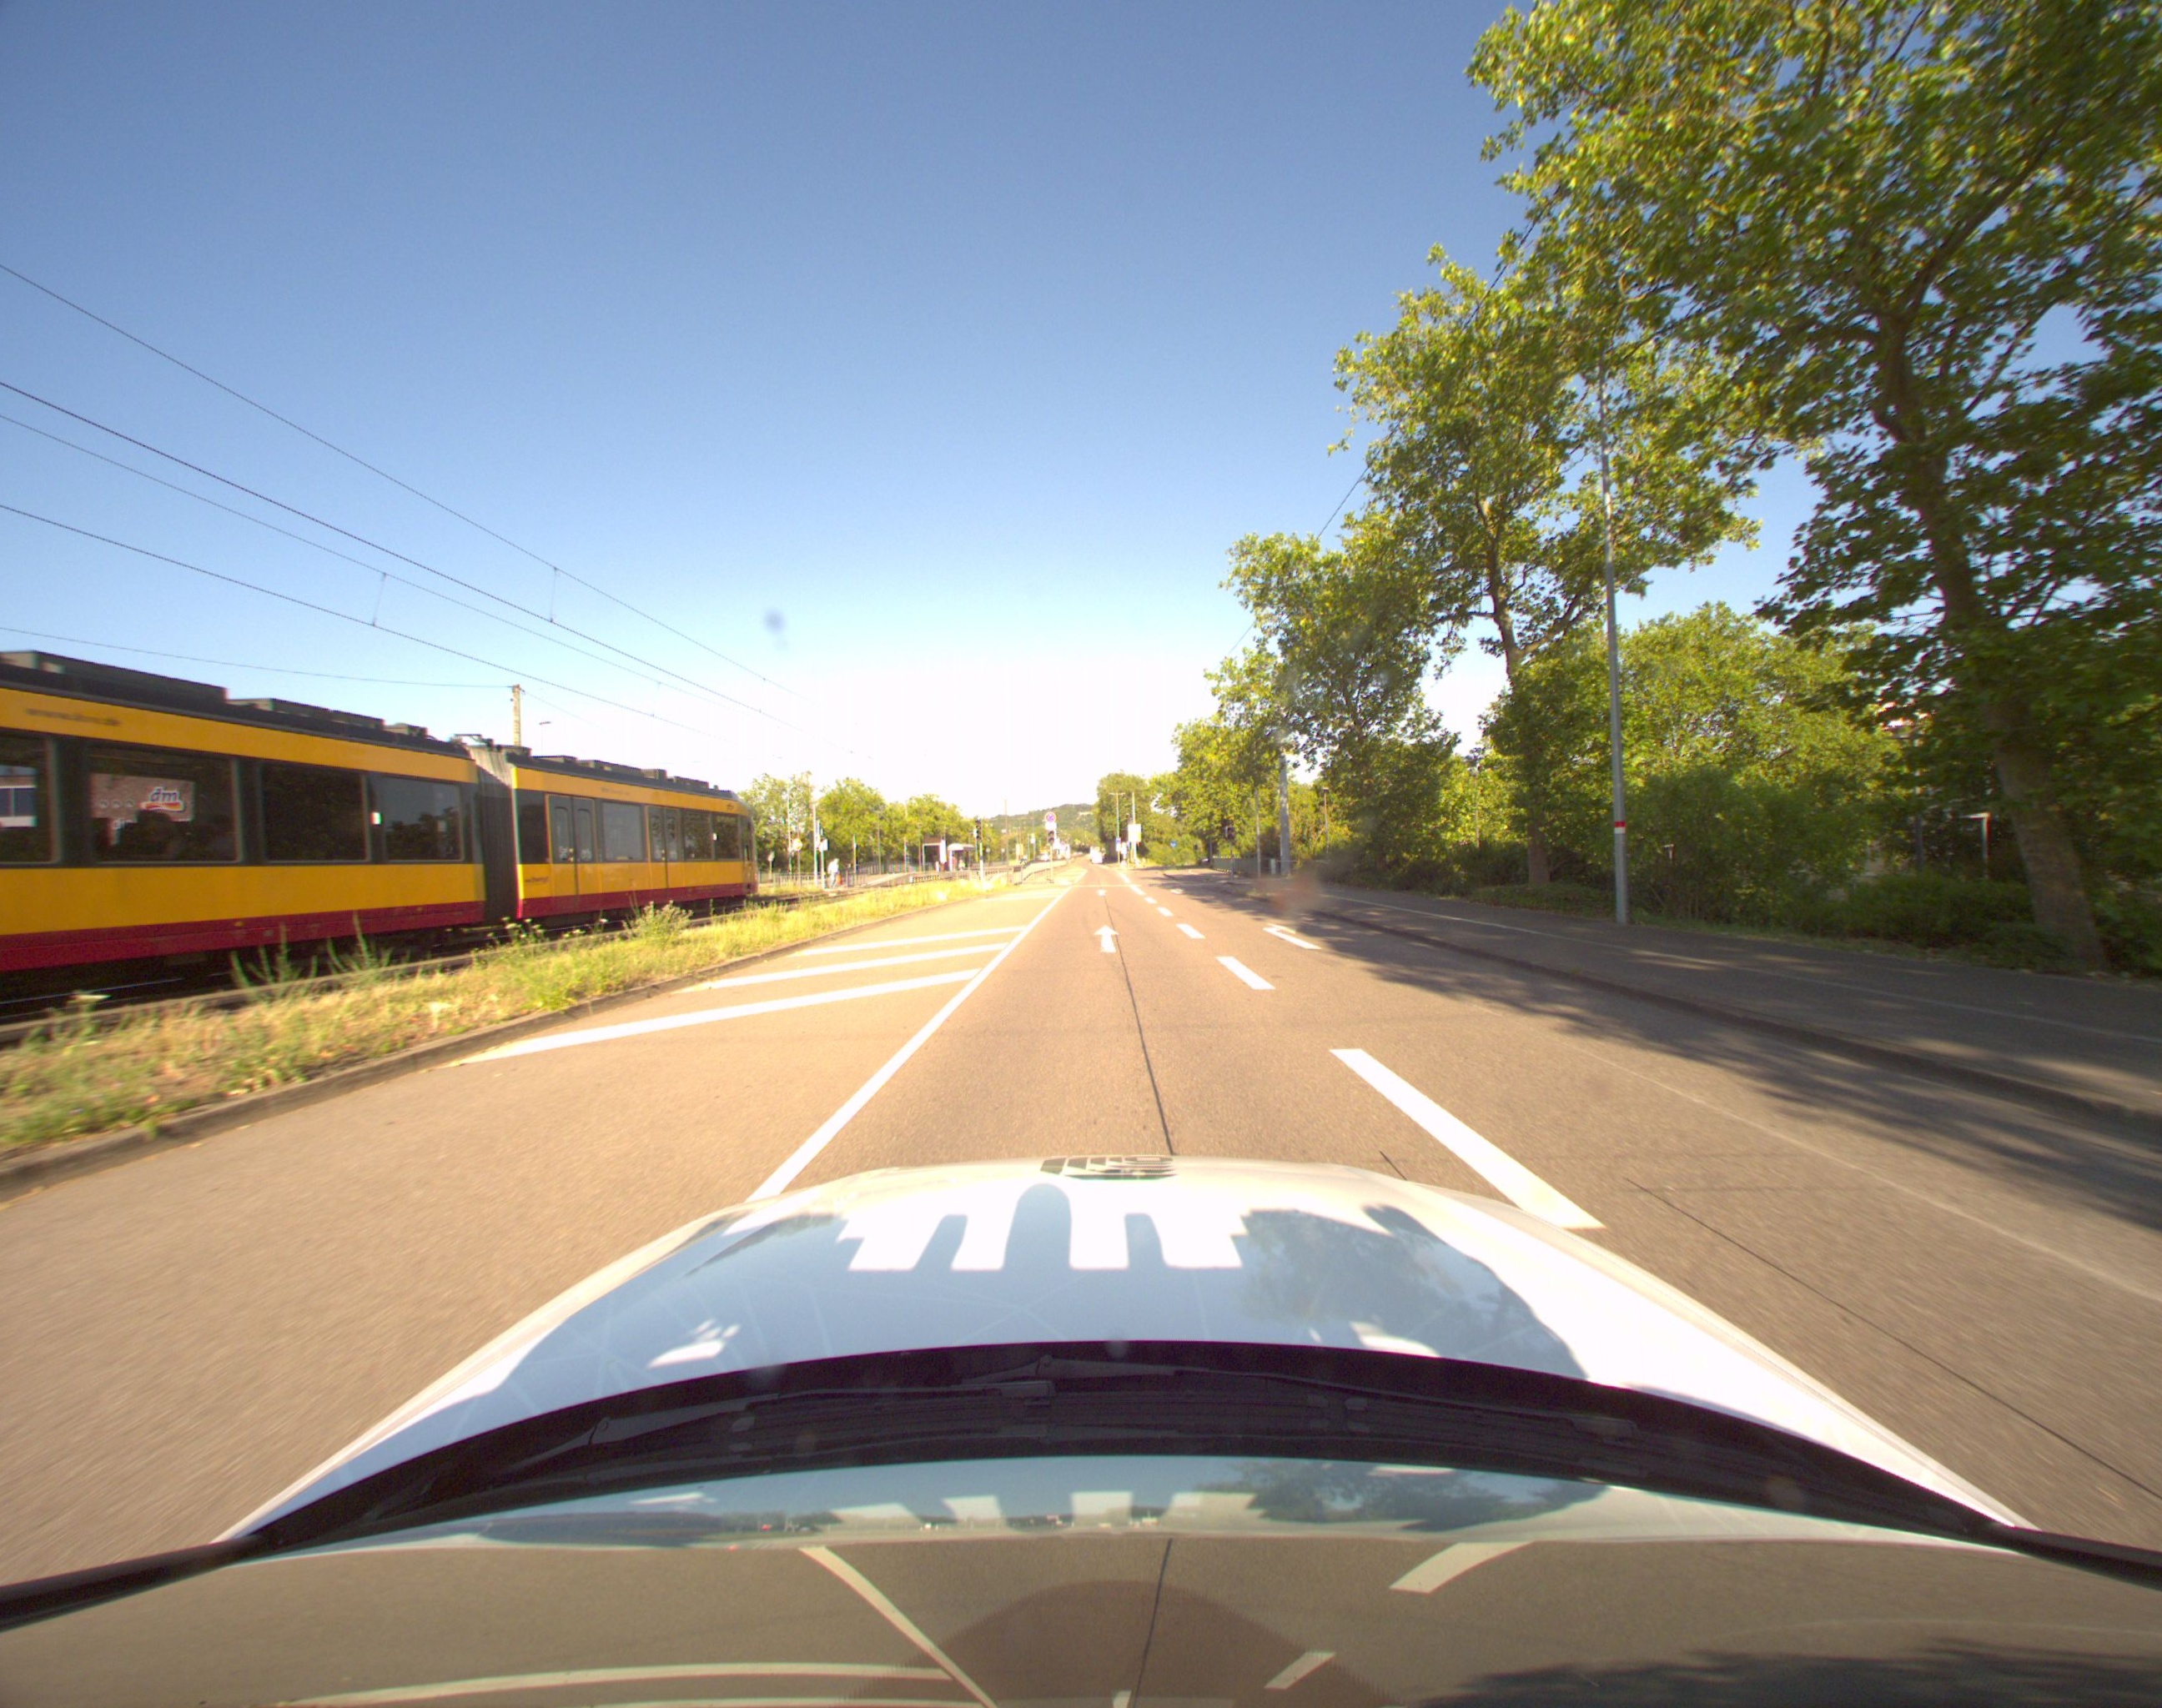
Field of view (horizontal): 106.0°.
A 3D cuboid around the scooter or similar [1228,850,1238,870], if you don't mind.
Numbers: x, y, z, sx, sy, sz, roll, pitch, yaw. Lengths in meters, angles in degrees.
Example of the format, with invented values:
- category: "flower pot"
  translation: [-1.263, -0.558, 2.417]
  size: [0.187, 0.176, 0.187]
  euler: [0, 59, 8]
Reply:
- category: "scooter or similar"
  translation: [10.244, 0.399, 54.803]
  size: [0.425, 1.275, 1.083]
  euler: [-2, 0, 1]

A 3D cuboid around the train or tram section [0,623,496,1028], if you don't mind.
- category: "train or tram section"
  translation: [-11.961, -0.250, 8.751]
  size: [2.873, 3.947, 11.342]
  euler: [-1, 0, 1]

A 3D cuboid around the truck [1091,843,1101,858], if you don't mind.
- category: "truck"
  translation: [3.974, -0.908, 217.193]
  size: [2.733, 3.783, 10.088]
  euler: [0, 0, 0]

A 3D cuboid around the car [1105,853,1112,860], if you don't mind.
- category: "car"
  translation: [6.471, 0.567, 192.198]
  size: [1.646, 1.437, 3.779]
  euler: [-1, 0, 2]

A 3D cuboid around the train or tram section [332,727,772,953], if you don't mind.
- category: "train or tram section"
  translation: [-11.703, -0.260, 20.529]
  size: [2.873, 3.947, 12.115]
  euler: [-1, 0, 1]

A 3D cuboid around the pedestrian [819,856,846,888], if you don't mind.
- category: "pedestrian"
  translation: [-13.223, 0.938, 43.326]
  size: [0.881, 1.645, 0.993]
  euler: [-2, 0, 30]

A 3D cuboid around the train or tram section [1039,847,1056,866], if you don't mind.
- category: "train or tram section"
  translation: [-7.723, 0.548, 187.469]
  size: [2.817, 4.006, 15.879]
  euler: [-1, 0, 1]

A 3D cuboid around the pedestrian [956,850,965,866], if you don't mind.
- category: "pedestrian"
  translation: [-13.370, 0.464, 90.283]
  size: [0.692, 1.757, 0.592]
  euler: [-1, -1, 37]

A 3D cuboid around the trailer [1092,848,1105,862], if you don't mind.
- category: "trailer"
  translation: [3.682, 0.185, 169.549]
  size: [2.241, 2.694, 5.952]
  euler: [-1, 0, 3]
